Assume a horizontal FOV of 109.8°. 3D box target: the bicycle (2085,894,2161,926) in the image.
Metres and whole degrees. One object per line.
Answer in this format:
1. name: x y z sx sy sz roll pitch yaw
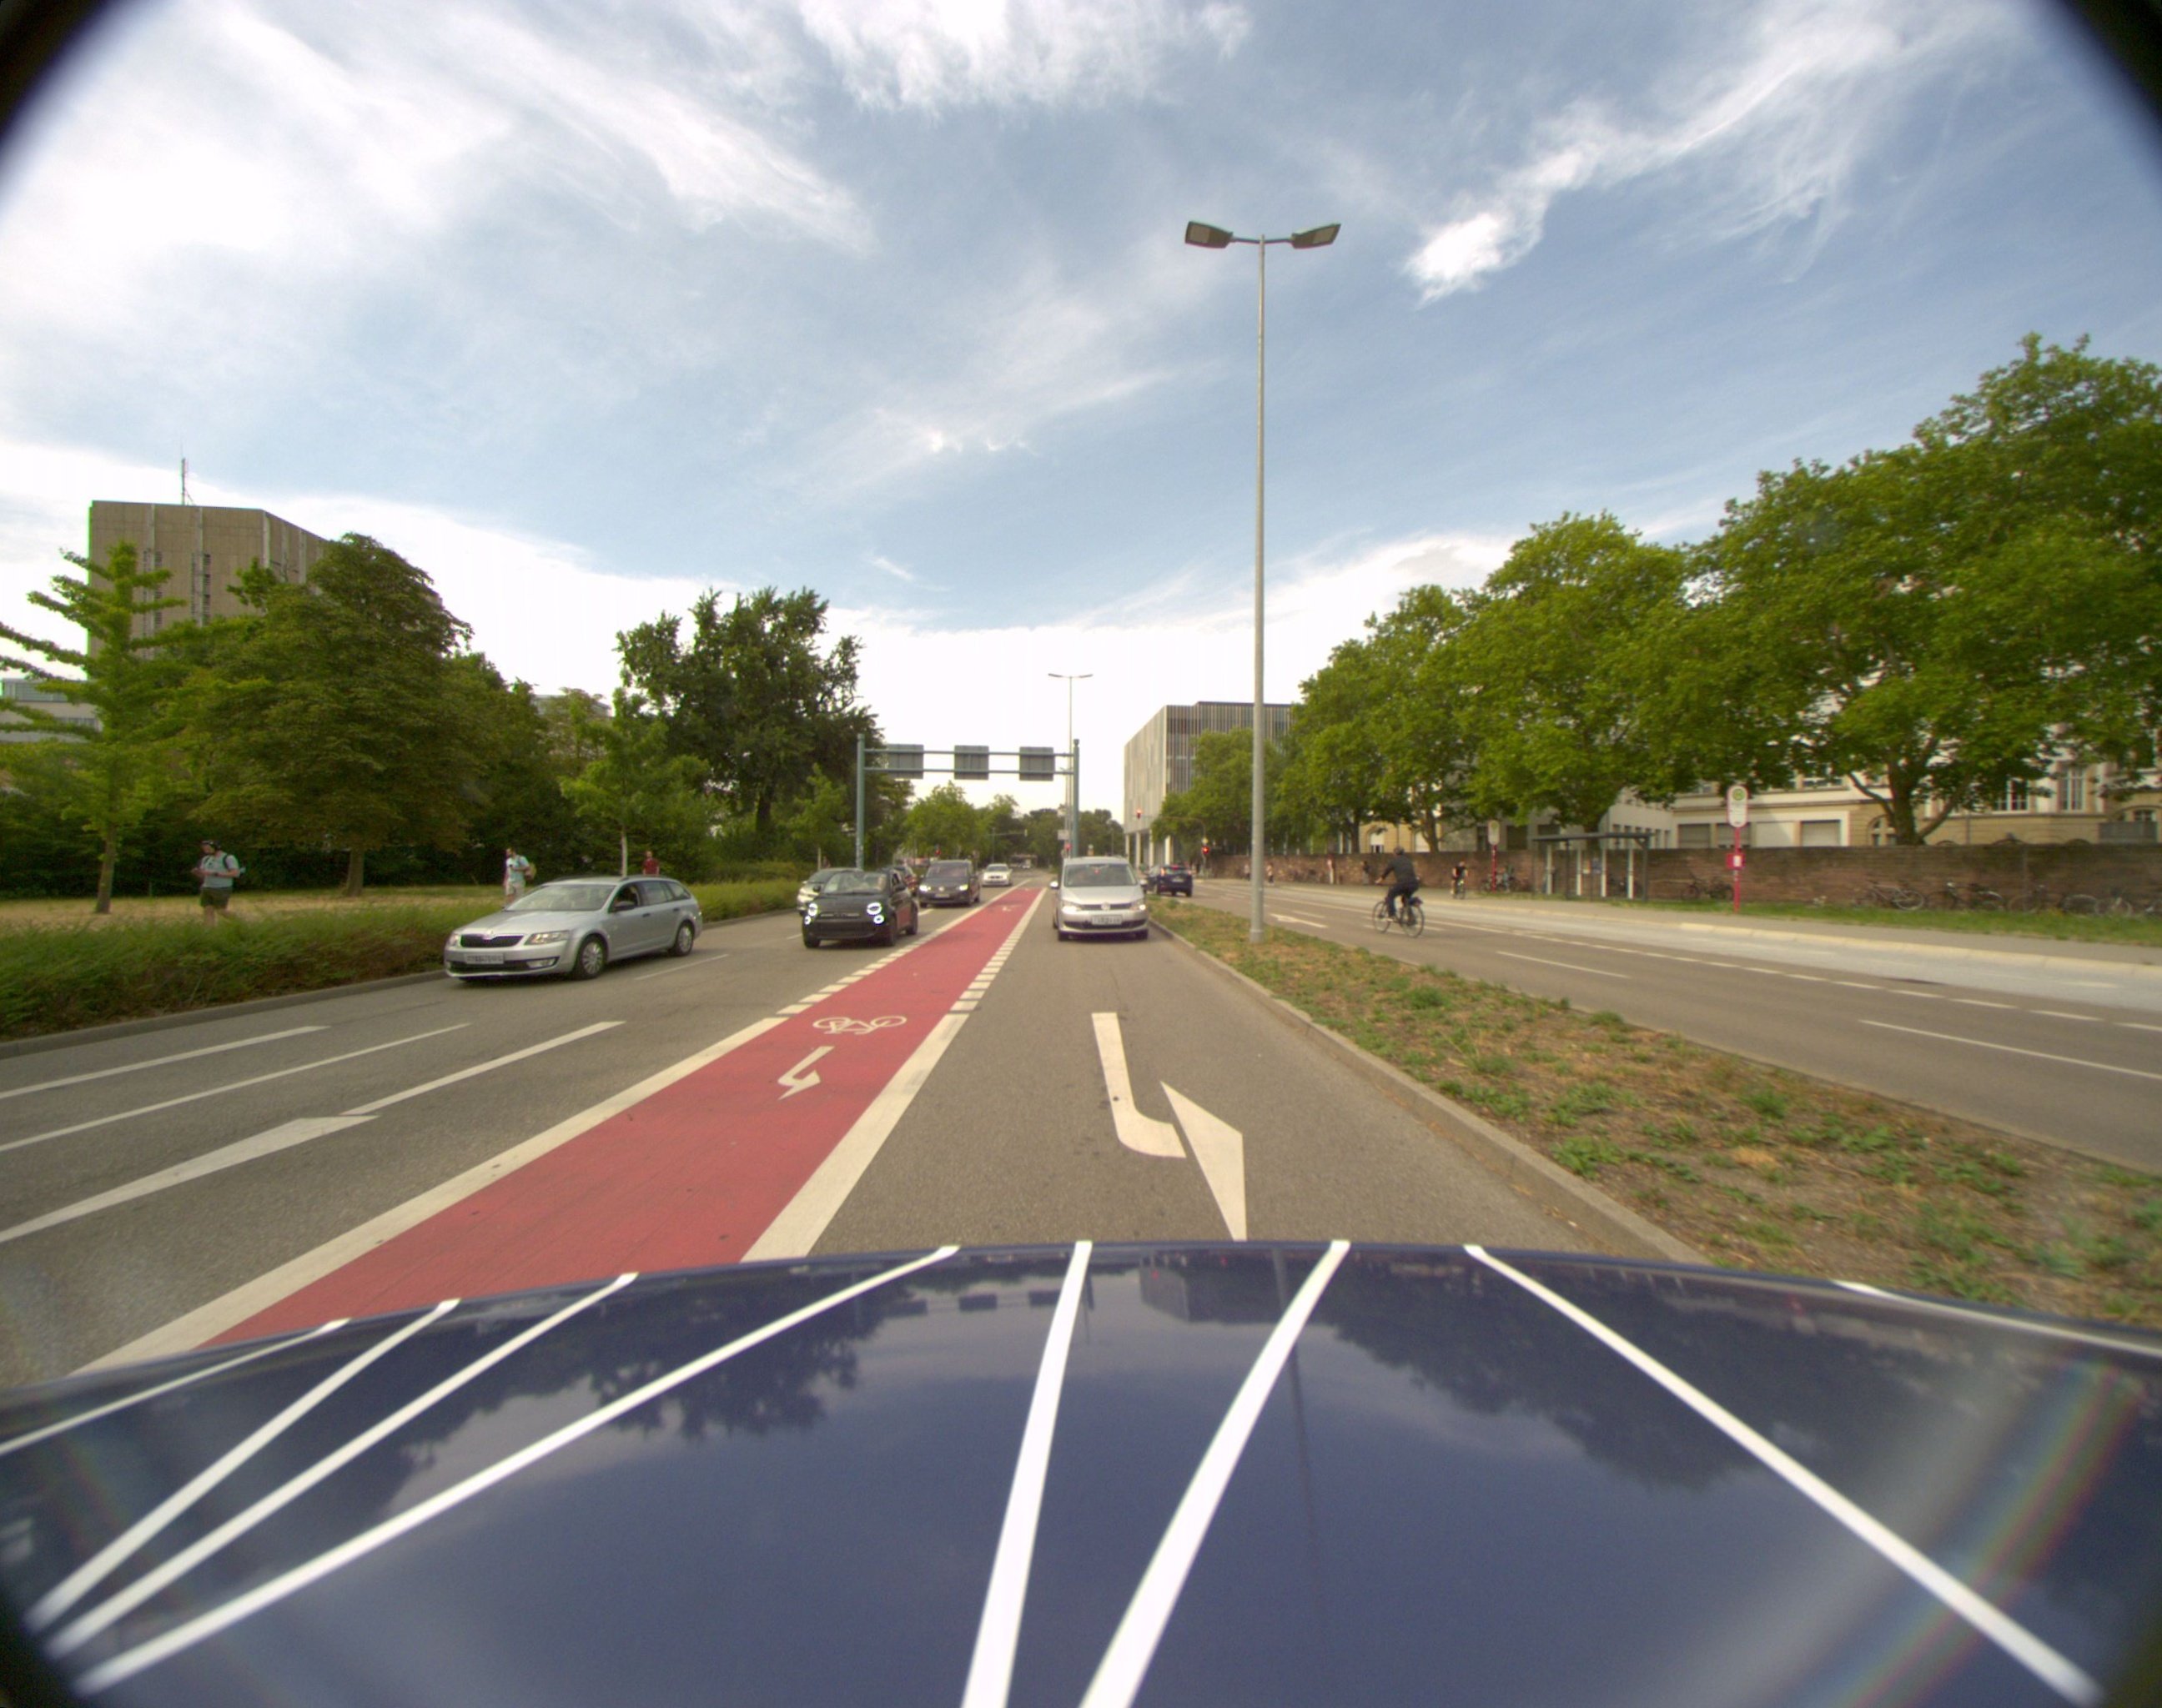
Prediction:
1. bicycle: 30.874 1.640 22.269 0.359 0.859 1.705 3 -1 -27

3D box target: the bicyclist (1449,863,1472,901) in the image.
1. bicyclist: 16.176 1.192 32.389 0.579 1.547 0.798 0 2 2

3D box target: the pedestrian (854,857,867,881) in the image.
1. pedestrian: -16.180 1.084 55.683 0.714 1.701 0.695 -1 1 -2

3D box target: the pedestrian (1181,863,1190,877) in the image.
1. pedestrian: 11.598 1.765 84.164 0.755 1.612 0.665 -1 1 -7

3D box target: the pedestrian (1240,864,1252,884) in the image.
1. pedestrian: 13.707 1.652 62.994 0.755 1.612 0.665 -1 1 -7

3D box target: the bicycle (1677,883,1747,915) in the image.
1. bicycle: 26.117 1.846 31.480 0.760 1.182 2.094 3 -1 -23

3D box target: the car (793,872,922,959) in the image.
1. car: -4.434 1.159 15.565 1.670 1.481 3.440 -1 0 -1

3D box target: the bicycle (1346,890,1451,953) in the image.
1. bicycle: 6.724 1.400 16.210 0.760 1.182 2.094 3 -1 -23

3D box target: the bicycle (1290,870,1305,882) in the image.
1. bicycle: 17.272 1.750 60.677 0.433 0.882 1.574 -3 0 -12

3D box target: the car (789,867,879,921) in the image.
1. car: -7.859 1.218 24.530 1.670 1.481 3.875 -1 0 -1

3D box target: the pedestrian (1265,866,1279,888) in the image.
1. pedestrian: 14.179 1.698 56.380 0.755 1.612 0.665 -1 1 -7

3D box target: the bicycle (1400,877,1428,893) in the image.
1. bicycle: 20.589 1.902 46.995 0.662 0.882 1.573 -3 0 -21

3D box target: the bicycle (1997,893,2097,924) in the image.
1. bicycle: 29.851 1.664 23.513 0.359 0.859 1.887 3 -1 -20

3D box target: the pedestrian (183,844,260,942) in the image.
1. pedestrian: -15.258 0.683 13.504 0.544 1.686 0.694 2 0 -5

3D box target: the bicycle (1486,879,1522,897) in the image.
1. bicycle: 22.632 1.806 40.694 0.662 0.882 1.573 -3 0 -21

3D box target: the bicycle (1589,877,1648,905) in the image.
1. bicycle: 24.760 1.676 35.054 0.760 1.182 2.094 3 -1 -23

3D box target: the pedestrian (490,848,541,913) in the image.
1. pedestrian: -15.374 0.704 20.675 0.842 1.701 0.694 -1 1 -5

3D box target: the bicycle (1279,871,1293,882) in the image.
1. bicycle: 16.874 1.850 62.510 0.433 0.882 1.574 -3 0 -12

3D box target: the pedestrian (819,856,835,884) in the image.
1. pedestrian: -15.582 0.972 46.707 0.714 1.701 0.695 -1 1 -2

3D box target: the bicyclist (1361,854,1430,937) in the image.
1. bicyclist: 6.717 0.875 16.248 0.779 1.700 1.084 3 -1 -23

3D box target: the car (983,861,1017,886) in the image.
1. car: -5.082 1.178 48.166 1.759 1.449 4.223 -1 0 -1

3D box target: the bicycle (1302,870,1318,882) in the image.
1. bicycle: 17.766 1.738 59.017 0.433 0.882 1.574 -3 0 -12

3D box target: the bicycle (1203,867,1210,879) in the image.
1. bicycle: 13.850 2.069 83.650 0.513 1.202 1.395 -1 0 -1

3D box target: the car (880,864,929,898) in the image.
1. car: -8.309 1.243 35.976 1.671 1.407 3.456 -1 0 -3

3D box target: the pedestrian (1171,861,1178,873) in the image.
1. pedestrian: 13.087 1.768 106.293 0.755 1.612 0.665 -1 1 -7

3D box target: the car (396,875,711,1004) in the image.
1. car: -7.799 1.150 11.918 1.824 1.465 4.527 -1 0 -1

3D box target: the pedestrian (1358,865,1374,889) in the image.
1. pedestrian: 19.212 1.547 51.224 0.756 1.612 0.664 -2 1 -42

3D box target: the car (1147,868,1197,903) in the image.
1. car: 4.309 1.469 36.539 1.789 1.480 4.129 2 0 -1

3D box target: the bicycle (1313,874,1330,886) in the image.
1. bicycle: 18.012 1.933 56.938 0.433 0.882 1.574 -3 0 -12

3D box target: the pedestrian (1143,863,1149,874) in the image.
1. pedestrian: 9.260 2.072 108.585 0.755 1.612 0.665 -1 1 -7

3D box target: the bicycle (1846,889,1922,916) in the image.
1. bicycle: 28.451 1.693 26.958 0.359 0.859 1.819 3 -1 -24

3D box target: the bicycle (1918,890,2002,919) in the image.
1. bicycle: 29.182 1.677 25.268 0.359 0.859 1.806 3 -1 -22

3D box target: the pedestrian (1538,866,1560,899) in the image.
1. pedestrian: 23.471 1.424 38.100 0.569 1.612 0.753 -2 1 -23

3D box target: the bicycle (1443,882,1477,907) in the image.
1. bicycle: 16.166 1.725 32.472 0.505 0.930 1.971 0 2 1

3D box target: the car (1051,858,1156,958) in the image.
1. car: 0.403 0.973 15.804 1.824 1.724 4.528 -1 0 0

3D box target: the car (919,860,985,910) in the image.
1. car: -4.715 1.084 28.396 1.759 1.641 4.685 -1 0 -1

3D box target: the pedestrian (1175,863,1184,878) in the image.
1. pedestrian: 10.863 1.783 83.681 0.755 1.612 0.665 -1 1 -7

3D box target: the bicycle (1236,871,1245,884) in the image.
1. bicycle: 15.191 2.217 72.464 0.513 1.202 1.395 -1 0 -1

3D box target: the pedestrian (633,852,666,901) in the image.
1. pedestrian: -15.303 0.787 26.942 0.714 1.701 0.695 -1 1 -2

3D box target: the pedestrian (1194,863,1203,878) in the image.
1. pedestrian: 12.719 1.789 82.178 0.755 1.612 0.665 -1 1 -7

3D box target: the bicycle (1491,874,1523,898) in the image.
1. bicycle: 21.972 1.640 39.151 2.104 1.182 0.756 4 -2 -41
